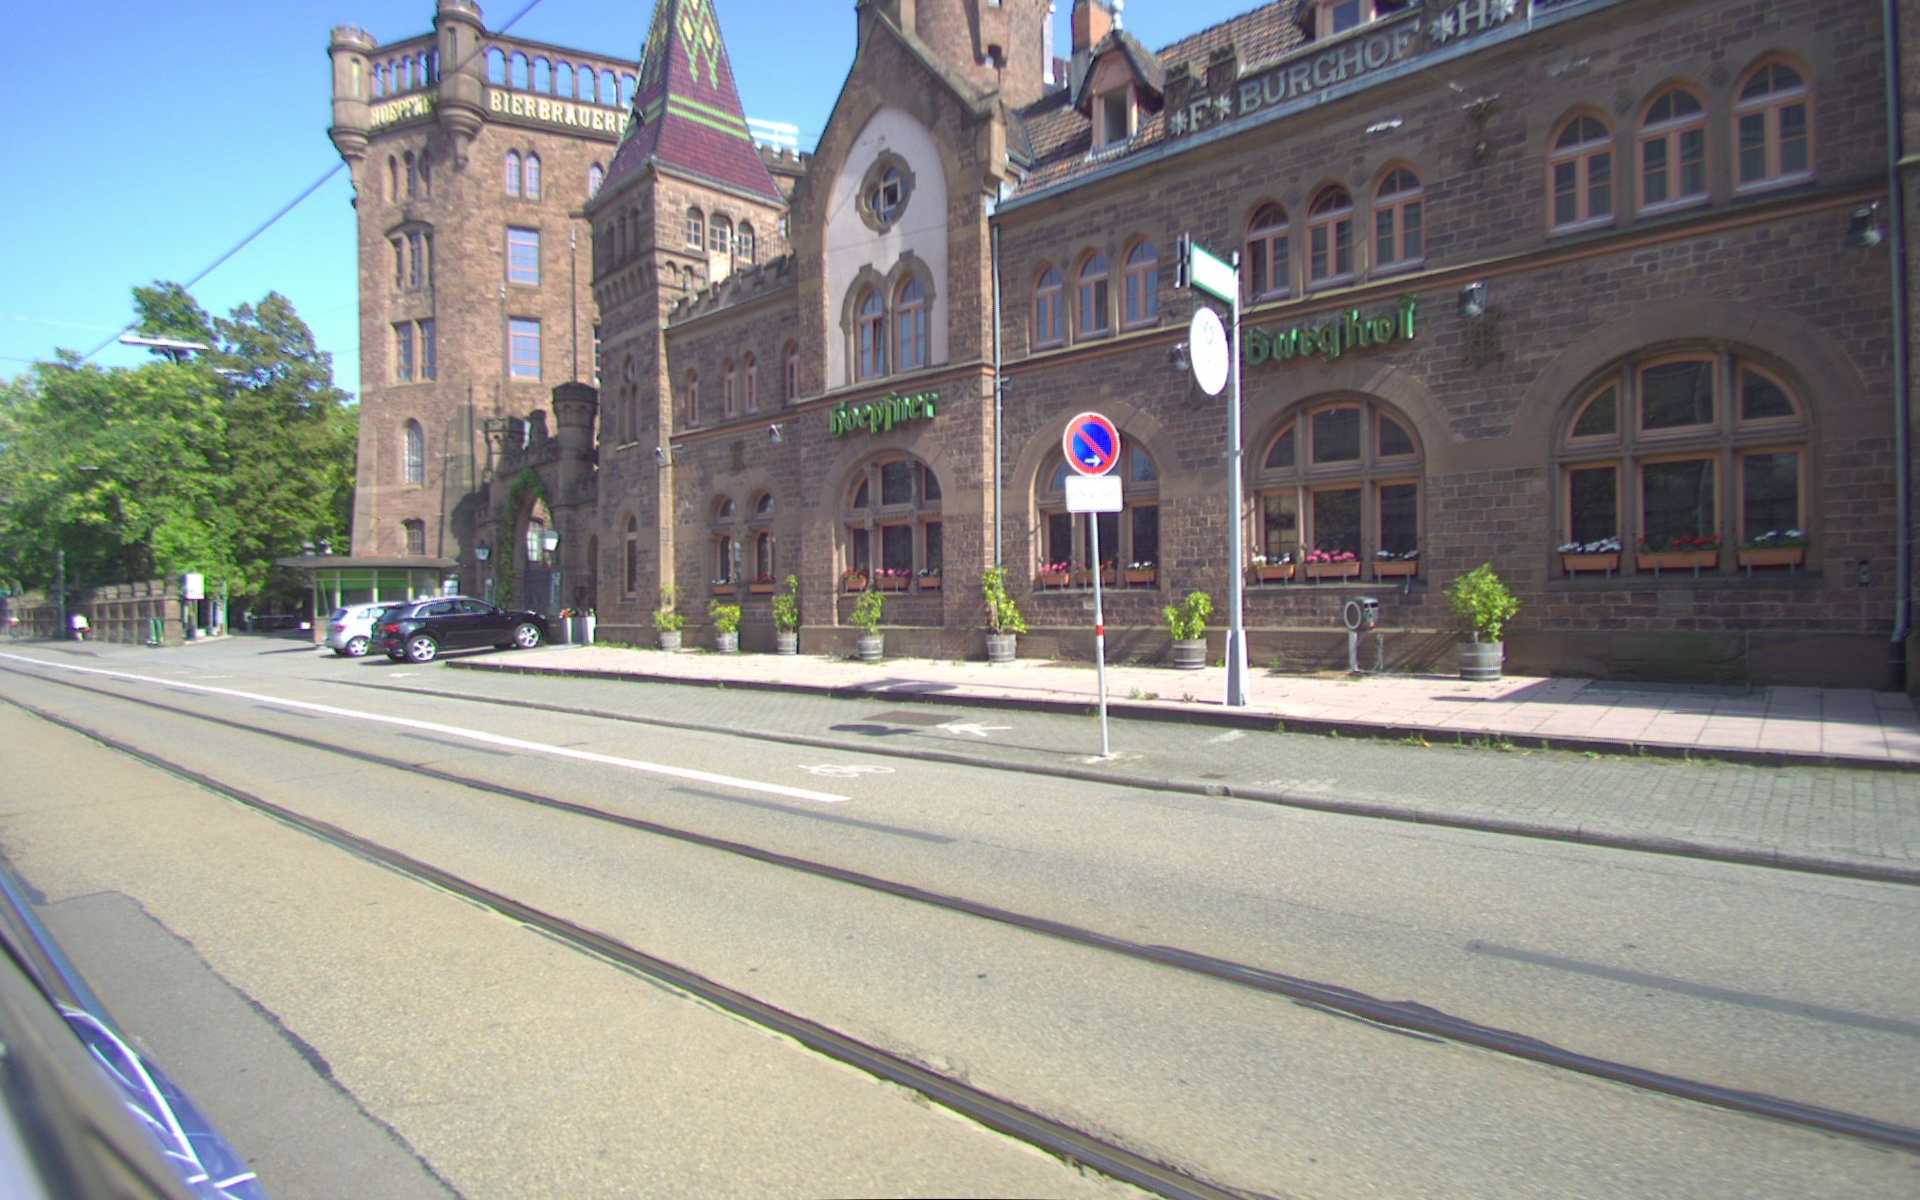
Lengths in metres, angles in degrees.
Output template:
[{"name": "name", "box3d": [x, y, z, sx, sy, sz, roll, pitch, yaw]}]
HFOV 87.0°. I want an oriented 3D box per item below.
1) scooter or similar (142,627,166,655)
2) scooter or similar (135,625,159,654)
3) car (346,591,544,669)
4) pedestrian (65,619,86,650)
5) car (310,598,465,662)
[{"name": "scooter or similar", "box3d": [-34.340, 1.743, 43.112, 0.280, 1.157, 0.816, -1, 2, 4]}, {"name": "scooter or similar", "box3d": [-35.274, 1.713, 43.919, 0.280, 1.157, 0.816, -1, 2, 4]}, {"name": "car", "box3d": [-14.052, 0.761, 27.800, 1.956, 1.657, 4.352, -2, 4, 42]}, {"name": "pedestrian", "box3d": [-47.042, 1.826, 53.817, 0.775, 1.601, 0.708, -1, 0, 40]}, {"name": "car", "box3d": [-18.165, 0.918, 32.231, 1.823, 1.607, 3.858, -2, 3, 43]}]
